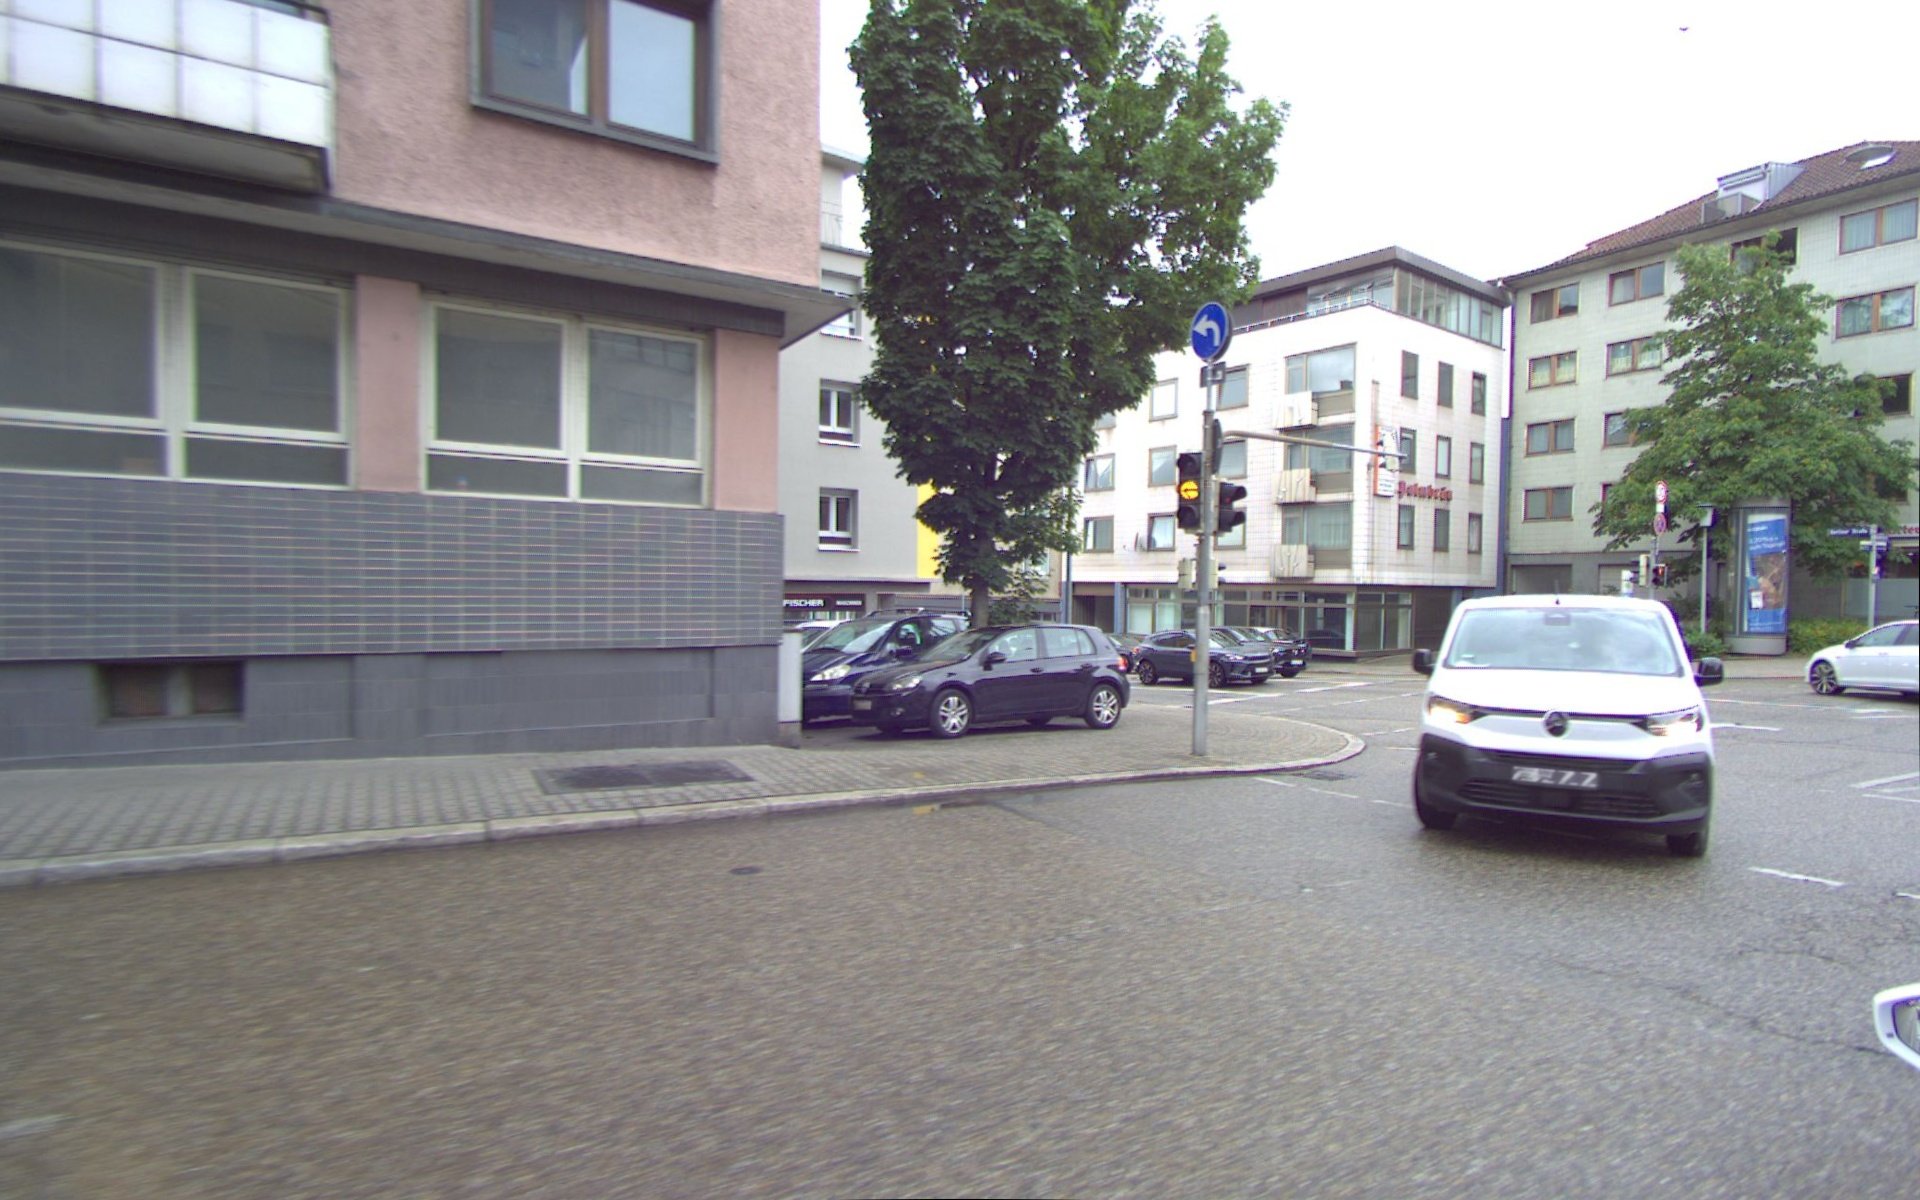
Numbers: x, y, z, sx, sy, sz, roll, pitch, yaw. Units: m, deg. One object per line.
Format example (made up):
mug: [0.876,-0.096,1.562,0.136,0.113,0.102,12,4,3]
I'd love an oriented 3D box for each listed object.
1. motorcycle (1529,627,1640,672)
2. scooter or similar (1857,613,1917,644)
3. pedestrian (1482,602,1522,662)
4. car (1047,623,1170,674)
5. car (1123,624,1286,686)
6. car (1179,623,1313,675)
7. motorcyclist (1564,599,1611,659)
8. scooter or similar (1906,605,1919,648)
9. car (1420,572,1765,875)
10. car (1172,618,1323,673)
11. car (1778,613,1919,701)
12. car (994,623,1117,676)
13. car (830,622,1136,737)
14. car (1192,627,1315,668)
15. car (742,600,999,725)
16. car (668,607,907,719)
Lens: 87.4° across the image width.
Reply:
motorcycle: [15.661,1.206,25.236,0.858,1.019,2.226,1,0,-39]
scooter or similar: [28.118,0.843,30.493,0.539,0.854,1.466,3,1,8]
pedestrian: [17.382,1.005,32.212,0.740,1.842,0.917,-2,2,-1]
car: [4.983,1.587,34.306,1.793,1.563,4.340,0,0,-32]
car: [6.611,1.447,27.631,1.805,1.497,4.340,0,0,-32]
car: [10.059,1.674,35.579,2.008,1.621,4.219,1,-1,-37]
motorcyclist: [15.716,0.718,25.158,0.899,1.472,0.738,1,0,-39]
scooter or similar: [28.007,0.794,28.509,1.534,1.206,0.500,3,2,32]
car: [4.952,0.791,8.218,1.779,1.737,4.539,-1,-2,29]
car: [8.696,1.410,30.742,1.805,1.557,4.341,0,-3,-32]
car: [17.295,0.979,18.081,1.799,1.481,4.381,-1,-1,5]
car: [3.095,1.595,33.345,1.793,1.563,4.340,0,0,-32]
car: [0.374,1.042,13.874,3.957,1.377,1.723,2,-3,-33]
car: [11.243,1.833,38.709,1.752,1.410,4.335,-3,-1,-36]
car: [-1.316,1.005,16.454,1.745,1.750,4.331,-4,-4,36]
car: [-3.058,1.077,18.363,1.836,1.817,3.976,-4,-3,43]
